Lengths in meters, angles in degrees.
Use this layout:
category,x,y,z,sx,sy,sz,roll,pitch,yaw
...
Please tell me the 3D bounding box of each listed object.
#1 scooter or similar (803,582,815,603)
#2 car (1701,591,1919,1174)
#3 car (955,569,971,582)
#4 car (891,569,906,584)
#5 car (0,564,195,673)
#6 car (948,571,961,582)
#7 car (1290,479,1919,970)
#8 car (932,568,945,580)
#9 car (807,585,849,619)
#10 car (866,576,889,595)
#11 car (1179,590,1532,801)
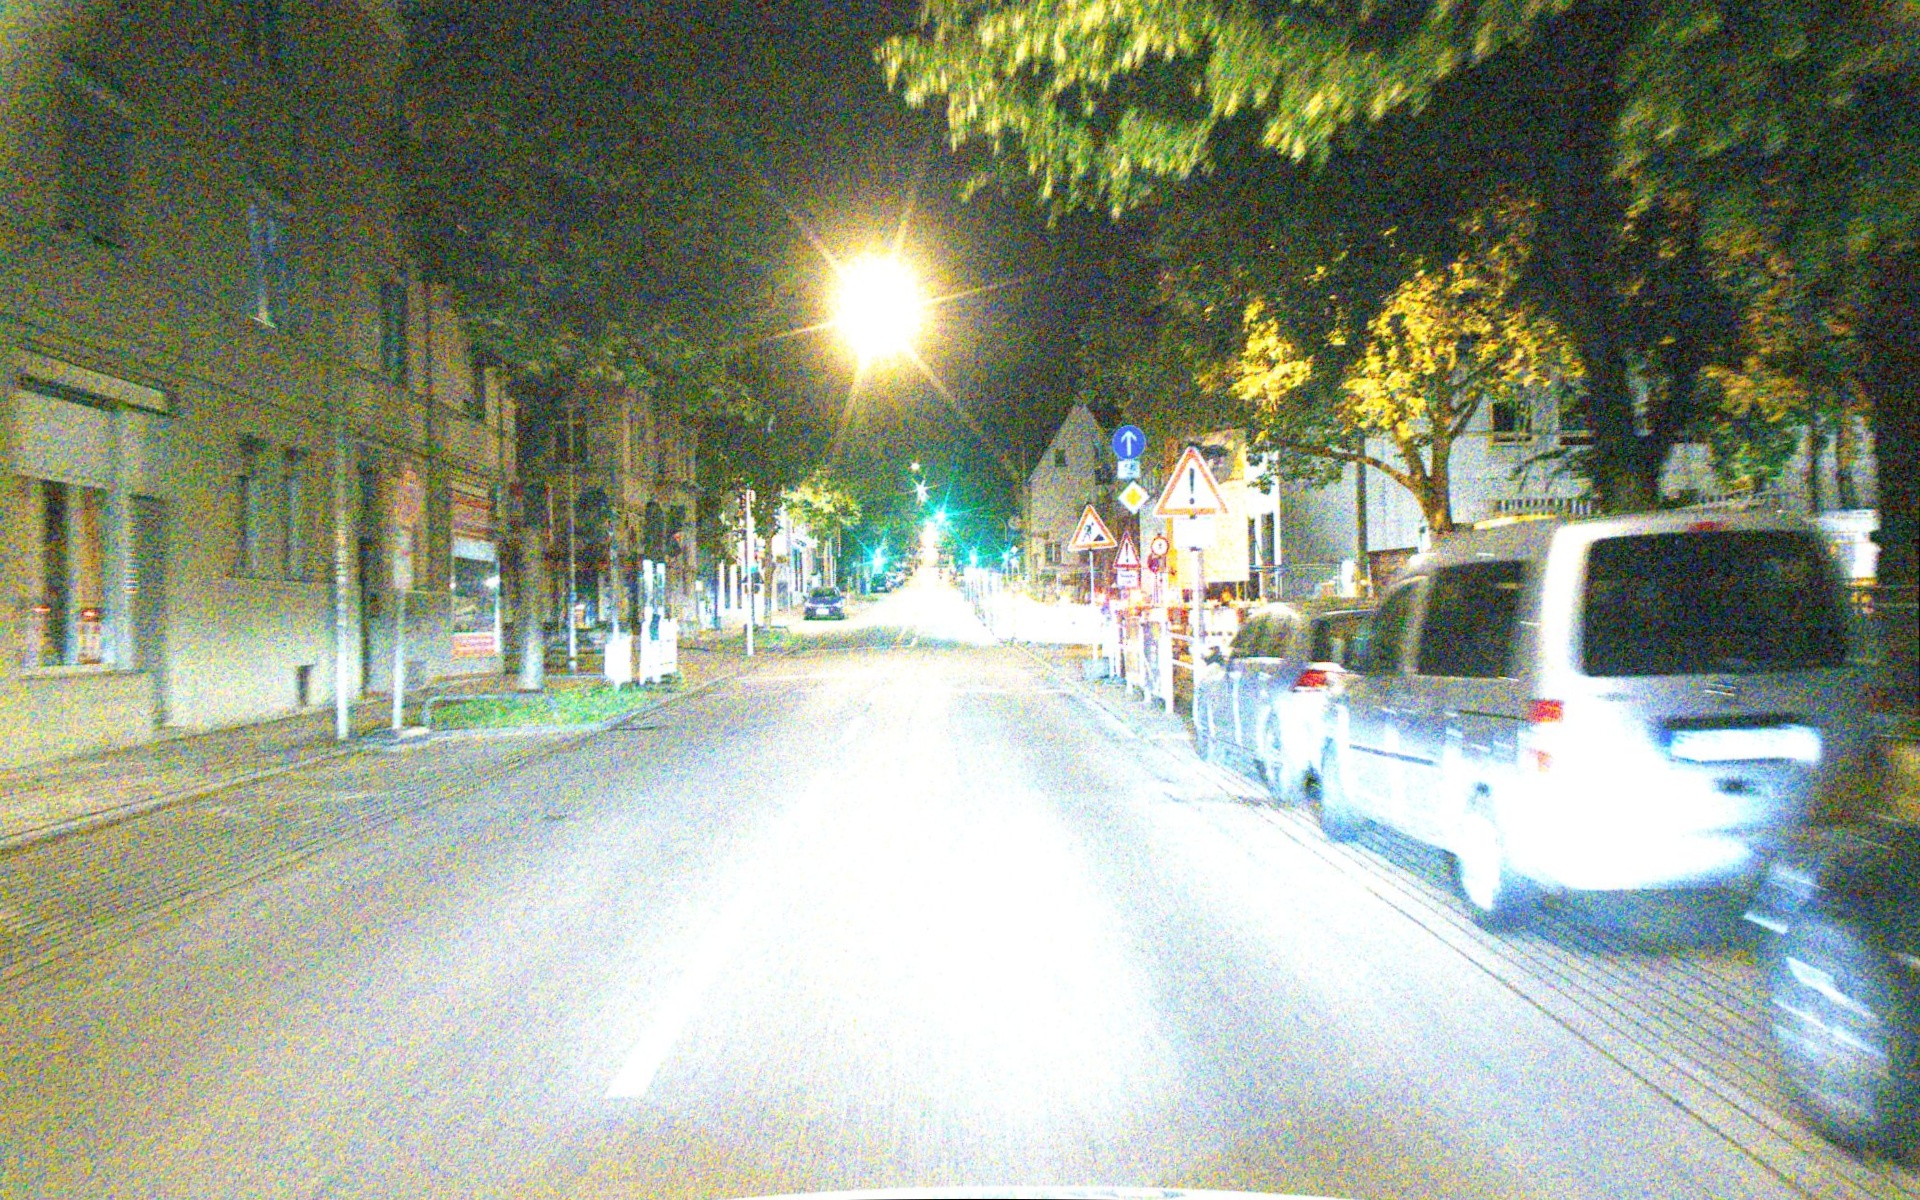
category,x,y,z,sx,sy,sz,roll,pitch,yaw
scooter or similar,-9.254,-0.452,101.632,0.517,1.185,2.506,-3,-1,-1
car,3.238,0.701,3.062,1.652,1.445,4.442,-2,0,-1
car,0.387,-2.952,198.368,1.835,1.571,4.204,-1,1,-1
car,-7.759,-2.939,209.497,1.835,1.846,4.204,-1,1,-1
car,-22.357,0.499,40.922,5.727,2.589,2.246,0,-3,-2
car,-0.767,-3.357,237.298,1.835,1.571,4.204,-1,1,-1
car,3.124,0.473,8.707,1.700,1.887,4.314,-2,0,-2
car,-3.170,-3.873,245.397,1.835,1.846,4.205,-1,1,0
car,-6.030,0.068,75.778,1.637,1.468,4.204,-1,1,-1
car,-7.295,-1.288,147.002,1.835,1.571,4.204,-1,1,-1
car,3.084,0.664,13.846,1.693,1.444,4.321,-1,0,-3
